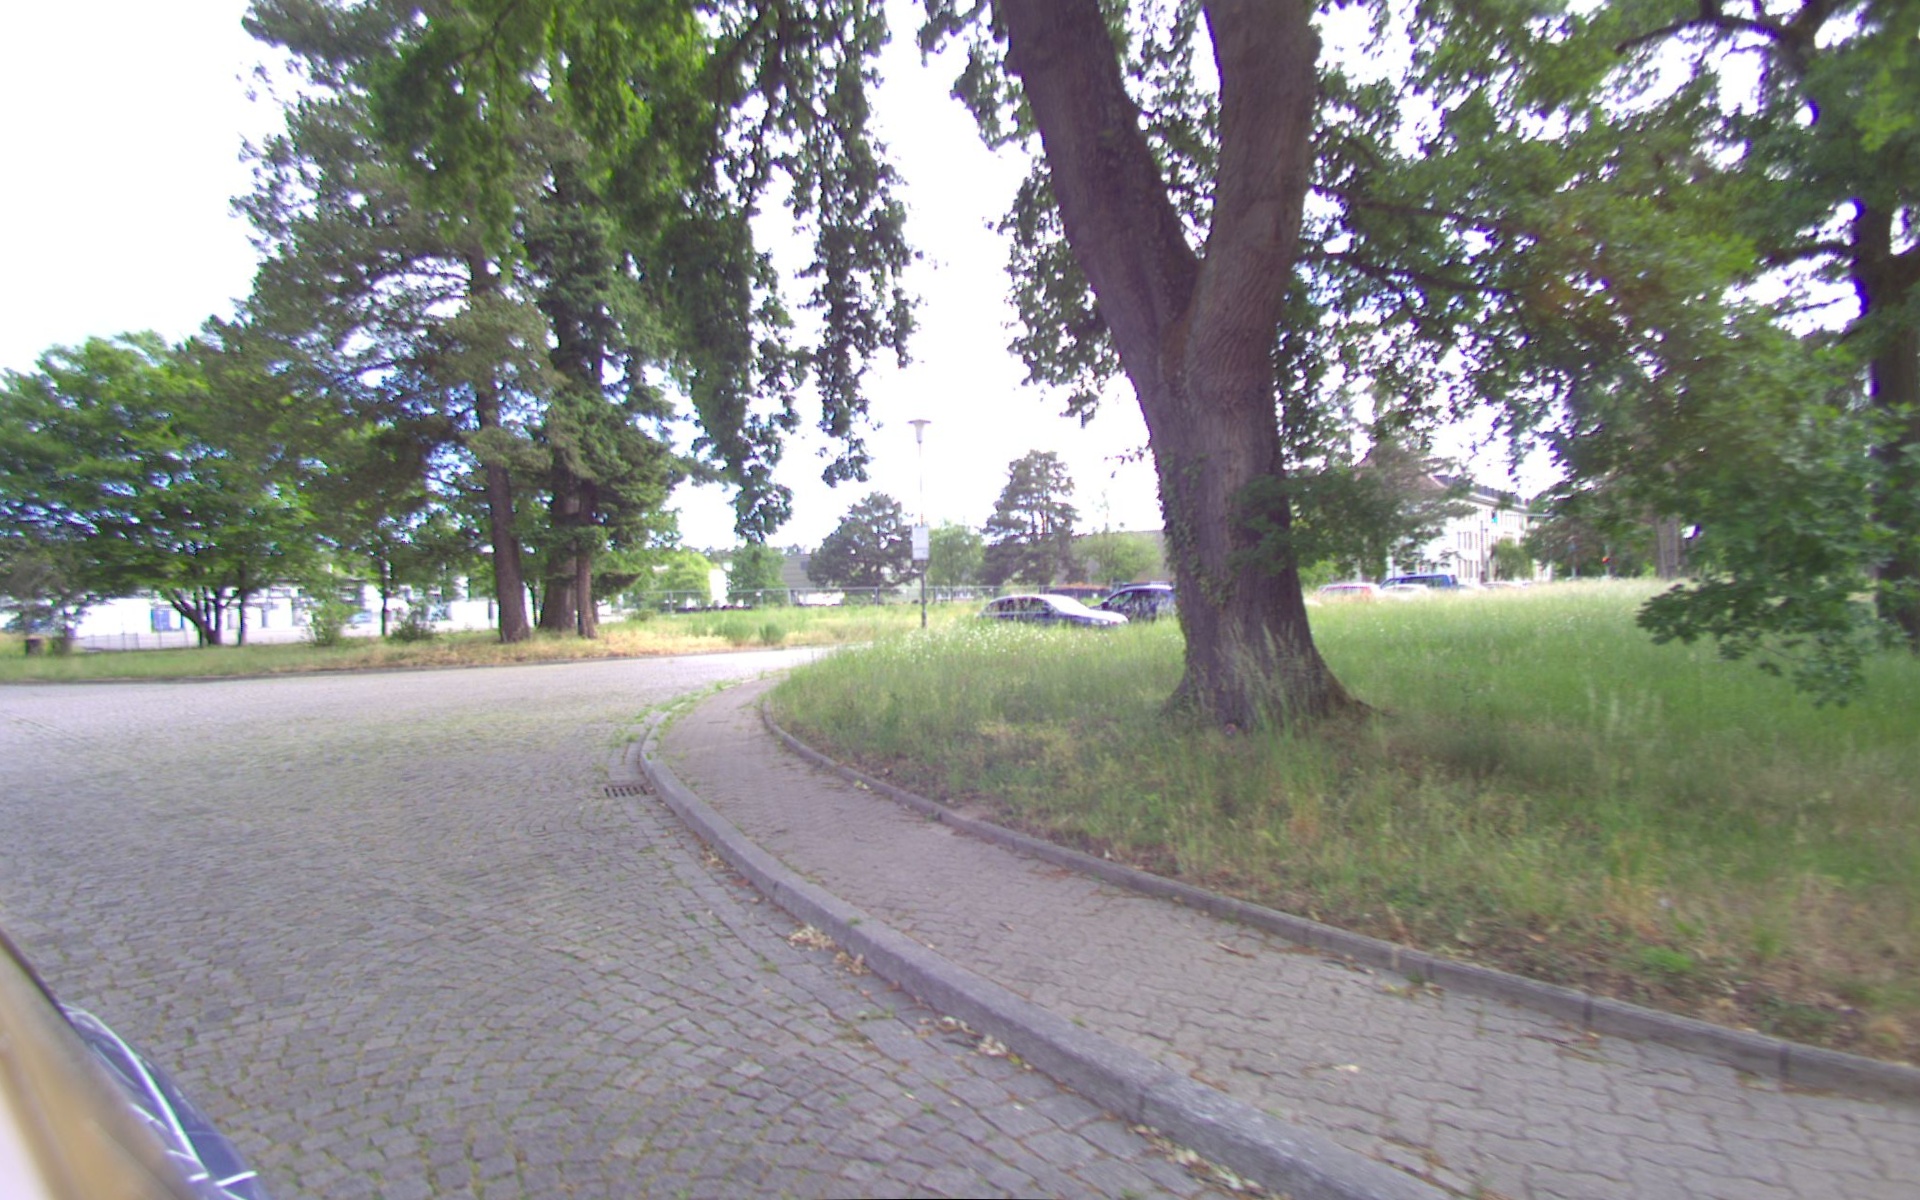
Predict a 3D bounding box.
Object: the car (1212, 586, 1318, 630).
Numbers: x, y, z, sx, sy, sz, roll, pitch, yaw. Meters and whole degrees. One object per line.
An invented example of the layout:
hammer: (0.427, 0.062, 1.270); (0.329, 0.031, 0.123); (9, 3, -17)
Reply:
car: (11.689, 0.326, 38.896); (3.495, 1.493, 1.581); (-4, -1, 39)

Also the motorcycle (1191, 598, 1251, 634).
motorcycle: (9.057, 0.553, 35.182); (1.910, 1.202, 0.543); (-2, 0, 35)

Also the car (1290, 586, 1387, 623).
car: (16.661, 0.211, 44.594); (3.659, 1.432, 1.557); (-4, -1, 39)

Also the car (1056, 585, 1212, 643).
car: (5.267, 0.463, 30.977); (4.361, 1.574, 1.741); (-3, -1, 39)

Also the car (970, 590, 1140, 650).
car: (2.482, 0.549, 27.188); (4.355, 1.415, 1.739); (-3, -1, 43)
